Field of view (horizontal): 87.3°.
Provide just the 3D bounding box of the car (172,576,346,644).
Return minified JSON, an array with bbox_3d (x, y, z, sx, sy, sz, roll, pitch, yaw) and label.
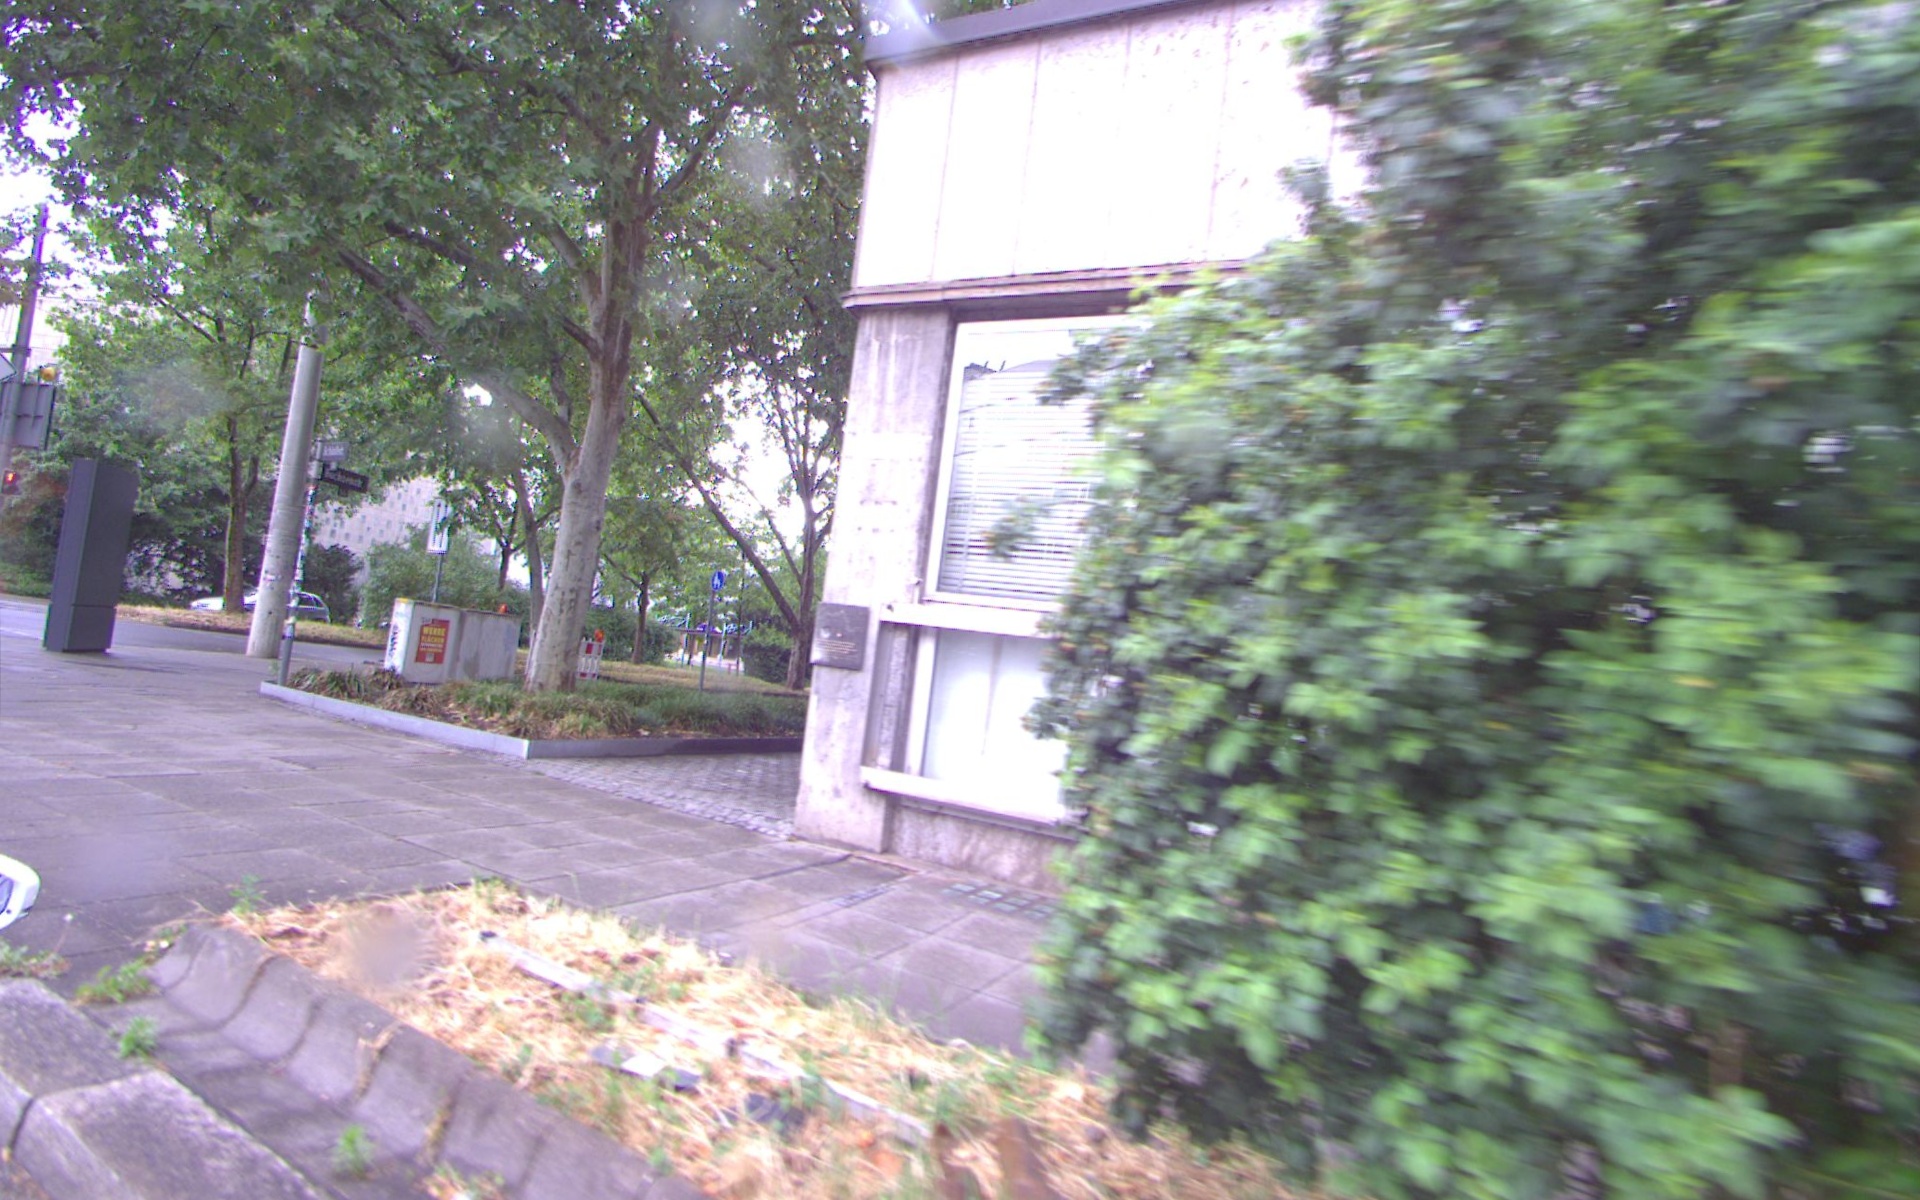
[{"bbox_3d":[-22.300,0.355,32.176,1.964,1.456,4.007,6,-6,25],"label":"car"}]
